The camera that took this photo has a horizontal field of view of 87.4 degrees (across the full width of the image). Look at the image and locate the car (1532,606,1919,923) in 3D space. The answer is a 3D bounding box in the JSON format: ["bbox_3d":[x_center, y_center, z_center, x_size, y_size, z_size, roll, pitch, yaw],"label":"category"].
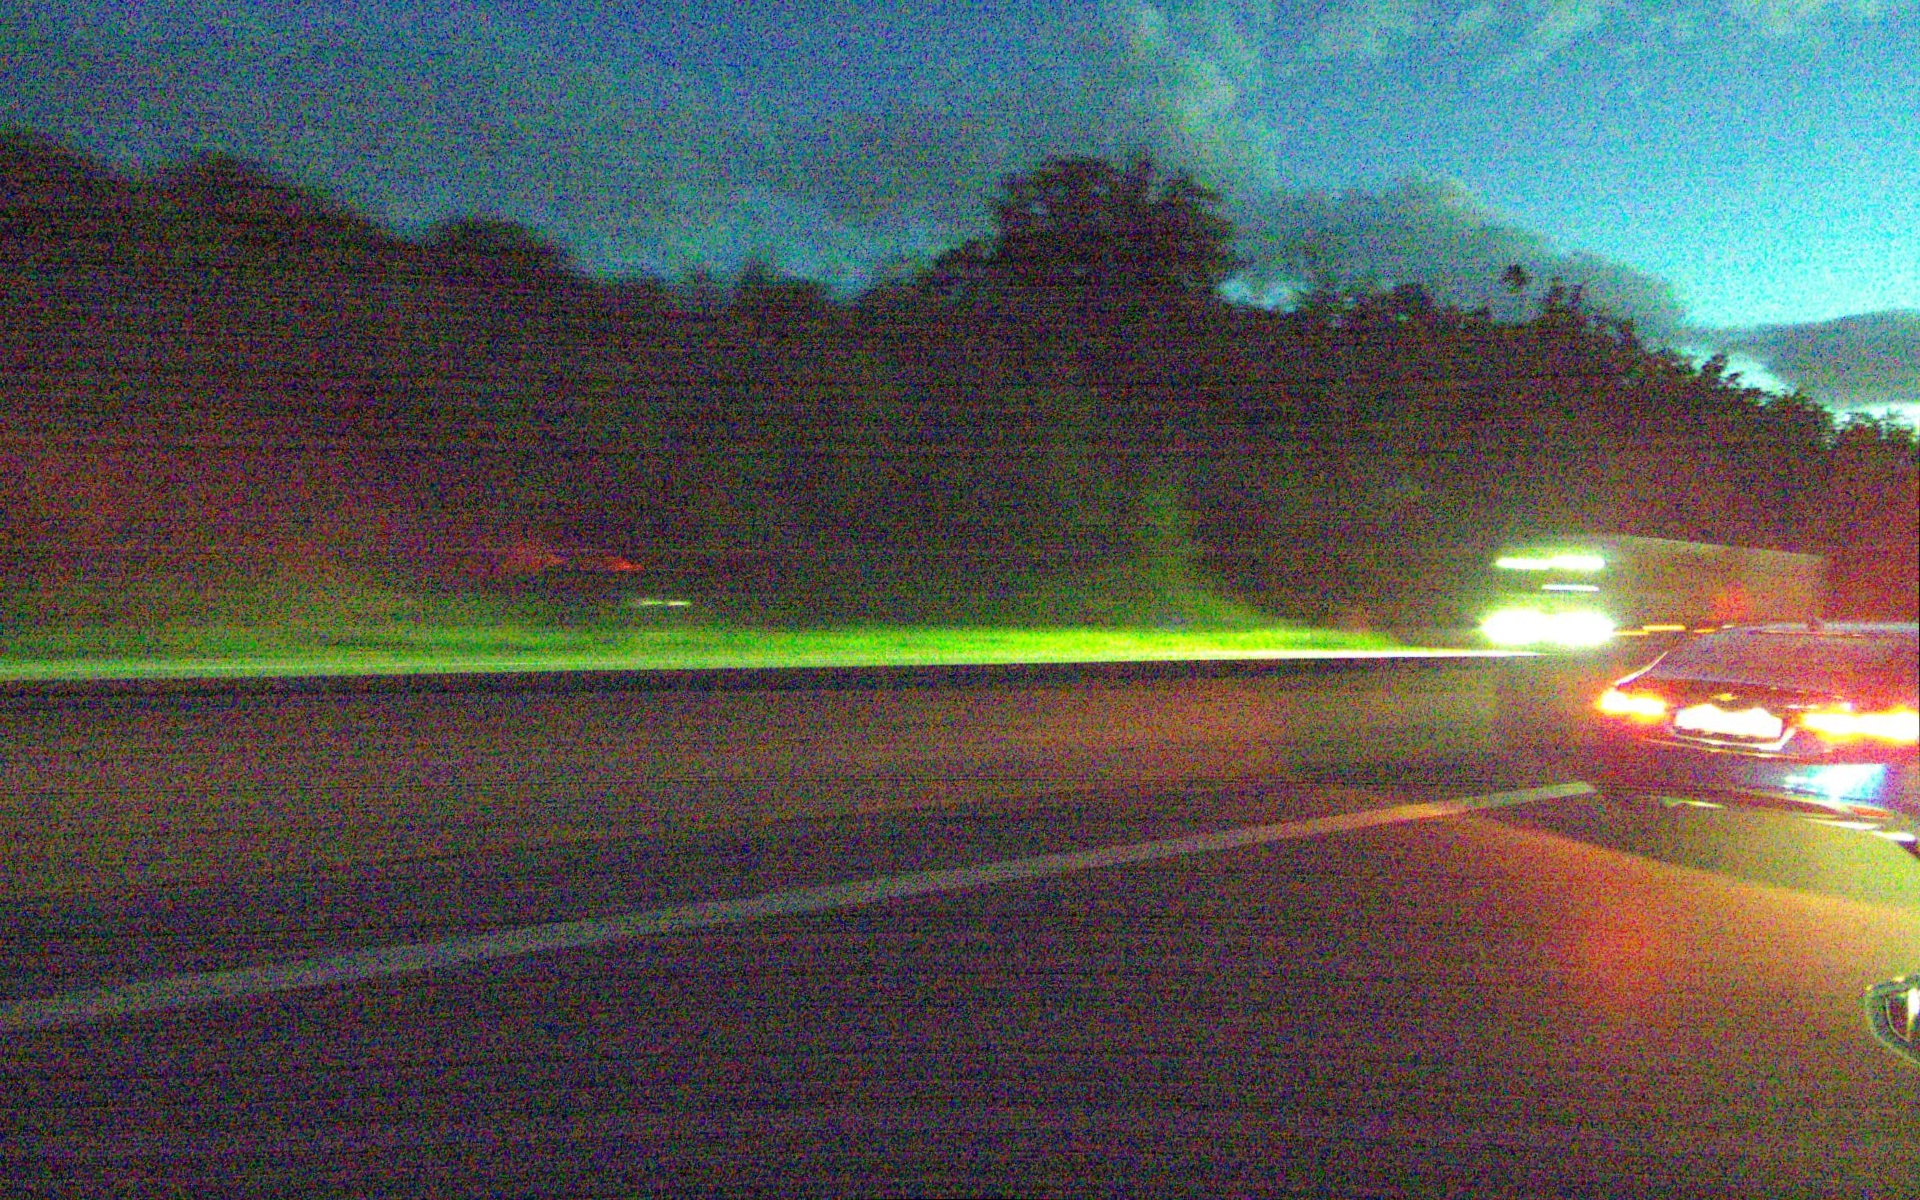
[{"bbox_3d":[6.778,0.847,7.377,5.584,1.539,1.983,0,1,-31],"label":"car"}]

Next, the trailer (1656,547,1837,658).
[{"bbox_3d":[32.164,0.166,40.970,8.770,4.126,2.845,1,0,-31],"label":"trailer"}]

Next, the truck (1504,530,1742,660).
[{"bbox_3d":[23.892,-0.051,35.924,10.514,4.126,2.845,1,0,-31],"label":"truck"}]
